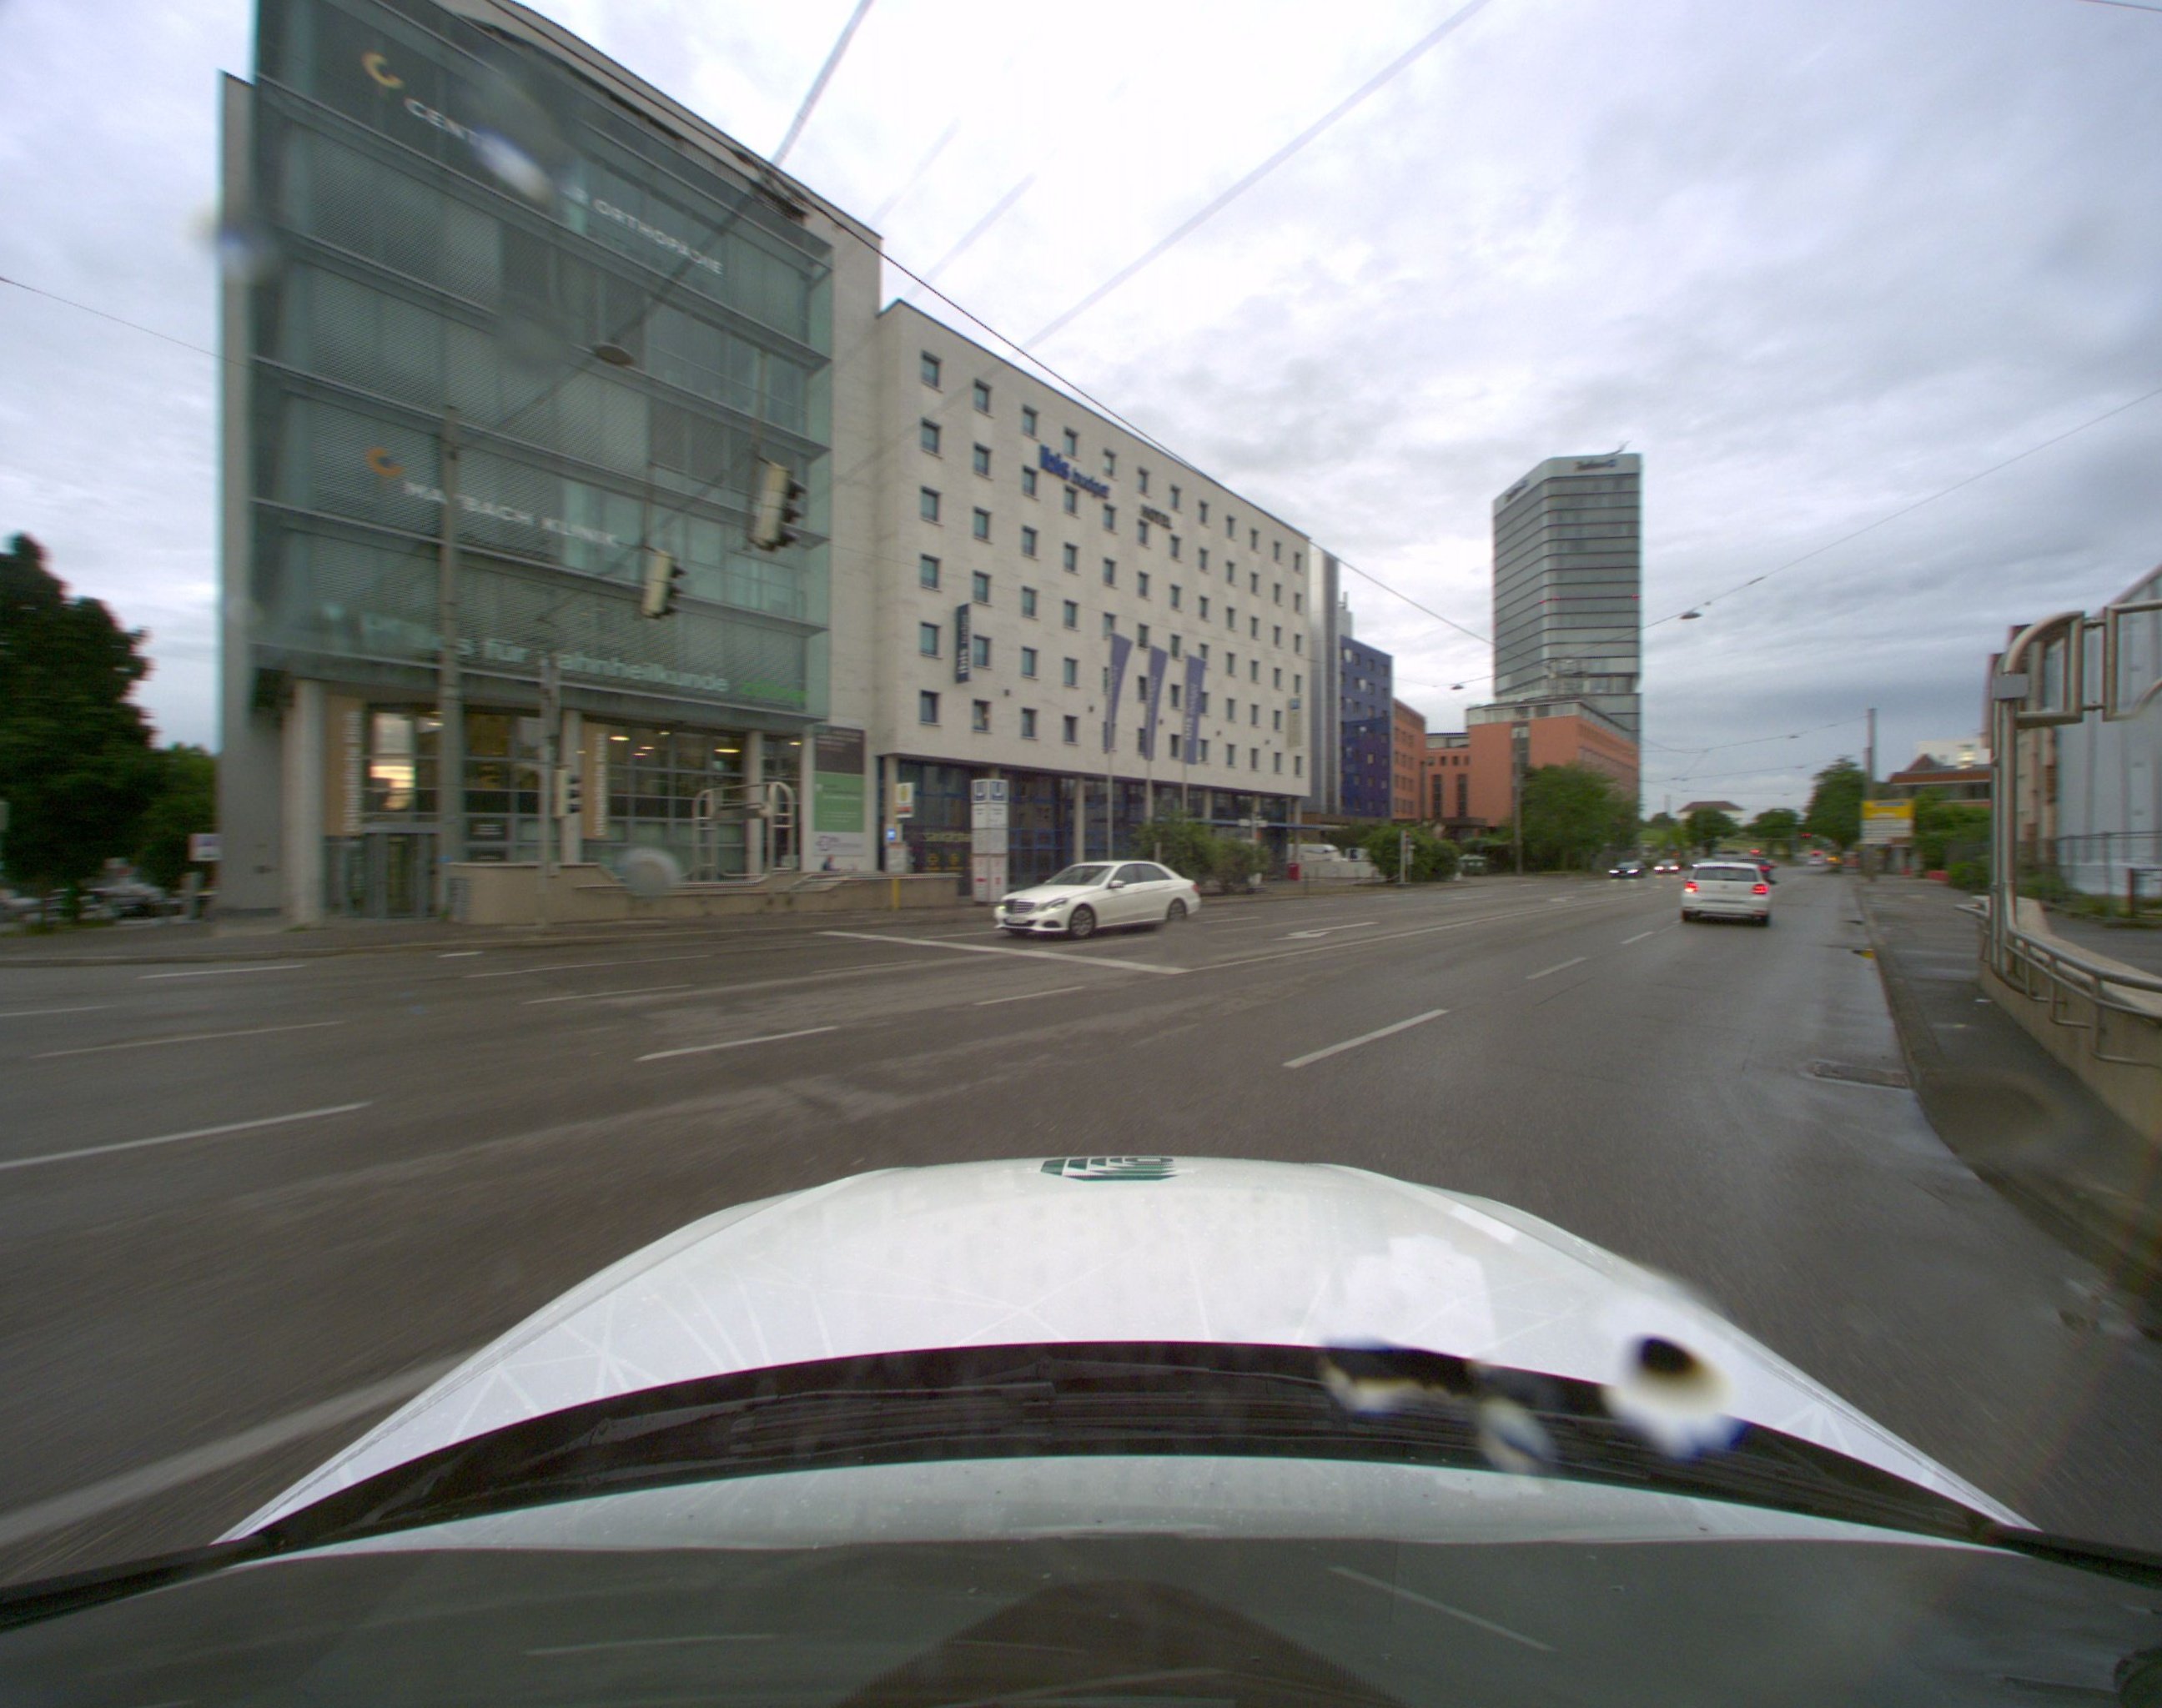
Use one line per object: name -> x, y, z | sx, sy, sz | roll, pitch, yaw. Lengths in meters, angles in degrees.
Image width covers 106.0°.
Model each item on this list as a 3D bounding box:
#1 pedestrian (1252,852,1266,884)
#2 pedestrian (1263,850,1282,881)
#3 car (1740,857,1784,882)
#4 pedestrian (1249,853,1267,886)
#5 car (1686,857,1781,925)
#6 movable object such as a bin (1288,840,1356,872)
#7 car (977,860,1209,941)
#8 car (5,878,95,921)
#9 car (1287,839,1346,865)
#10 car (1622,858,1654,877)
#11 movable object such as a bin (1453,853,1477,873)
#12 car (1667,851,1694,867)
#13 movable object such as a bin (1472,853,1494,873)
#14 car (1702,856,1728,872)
pedestrian -> 11.376, 0.911, 51.918 | 0.806, 2.014, 0.808 | -1, -3, 16
pedestrian -> 12.412, 0.751, 52.791 | 0.900, 2.014, 0.810 | 1, -3, -17
car -> 44.193, 0.993, 52.820 | 1.975, 1.574, 4.024 | 0, 0, 43
pedestrian -> 11.014, 1.000, 50.695 | 0.794, 2.014, 0.820 | -3, -5, 45
car -> 16.043, 0.838, 19.951 | 1.655, 1.474, 3.802 | 1, 0, 41
movable object such as a bin -> 21.858, 0.262, 74.070 | 5.572, 2.629, 2.174 | -3, -4, 44
car -> 0.415, 0.814, 16.356 | 1.800, 1.387, 4.993 | 0, -1, 43
car -> -44.239, 1.941, 34.931 | 3.948, 1.717, 2.012 | -2, -4, 34
car -> 20.776, -0.128, 72.006 | 4.668, 2.014, 1.904 | -3, -4, 44
car -> 45.337, 1.100, 66.254 | 1.716, 1.477, 4.728 | -2, -1, 40
movable object such as a bin -> 29.823, 0.682, 63.288 | 0.955, 1.491, 1.379 | 2, -4, -35
car -> 62.971, 0.513, 85.486 | 1.692, 1.566, 4.058 | -3, -2, 44
movable object such as a bin -> 30.536, 0.677, 61.832 | 1.376, 1.491, 0.957 | -2, -4, 34
car -> 66.514, 1.010, 85.468 | 1.739, 1.556, 4.477 | -3, -1, 43
